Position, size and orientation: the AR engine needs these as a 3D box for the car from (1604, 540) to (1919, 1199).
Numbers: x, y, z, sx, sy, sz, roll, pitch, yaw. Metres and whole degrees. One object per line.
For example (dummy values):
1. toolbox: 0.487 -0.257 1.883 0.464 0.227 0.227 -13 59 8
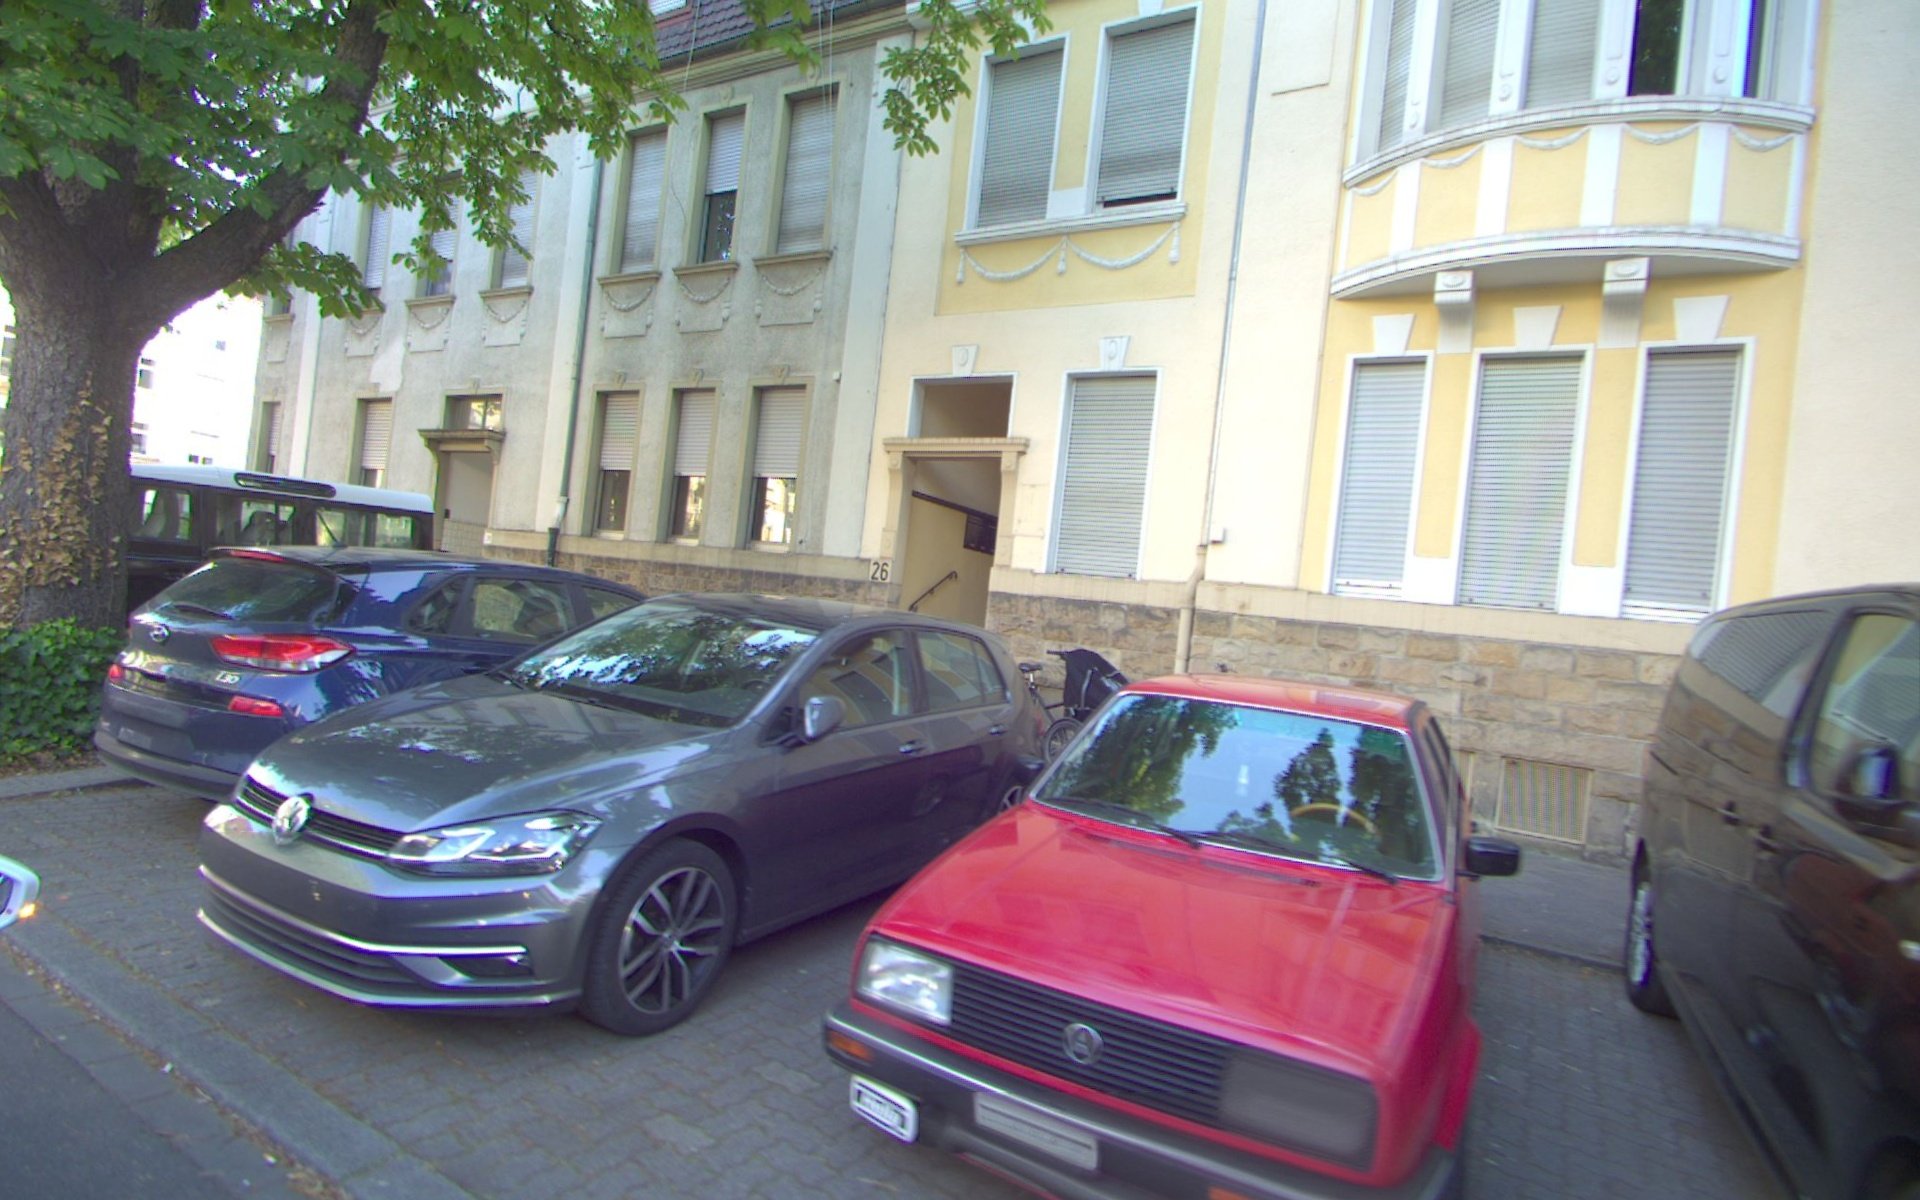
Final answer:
1. car: 3.218 0.932 2.723 1.848 1.847 4.829 5 0 27

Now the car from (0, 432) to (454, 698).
1. car: -7.278 -0.273 9.109 1.762 1.981 4.496 6 1 29

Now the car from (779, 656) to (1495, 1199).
1. car: 1.177 0.970 4.005 1.532 1.337 3.916 5 0 29

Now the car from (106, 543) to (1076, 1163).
1. car: -1.033 0.696 4.619 1.601 1.439 4.054 5 0 29

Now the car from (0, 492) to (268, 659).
1. car: -9.706 -0.281 10.622 1.680 1.606 3.489 6 0 26

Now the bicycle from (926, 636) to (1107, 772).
1. bicycle: 0.547 0.996 10.058 1.676 1.090 0.500 7 2 32

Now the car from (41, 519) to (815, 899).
1. car: -2.698 0.492 6.003 1.601 1.439 3.754 5 0 29

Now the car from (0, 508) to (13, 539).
1. car: -36.217 -2.967 35.791 1.357 1.081 3.370 6 -1 31
